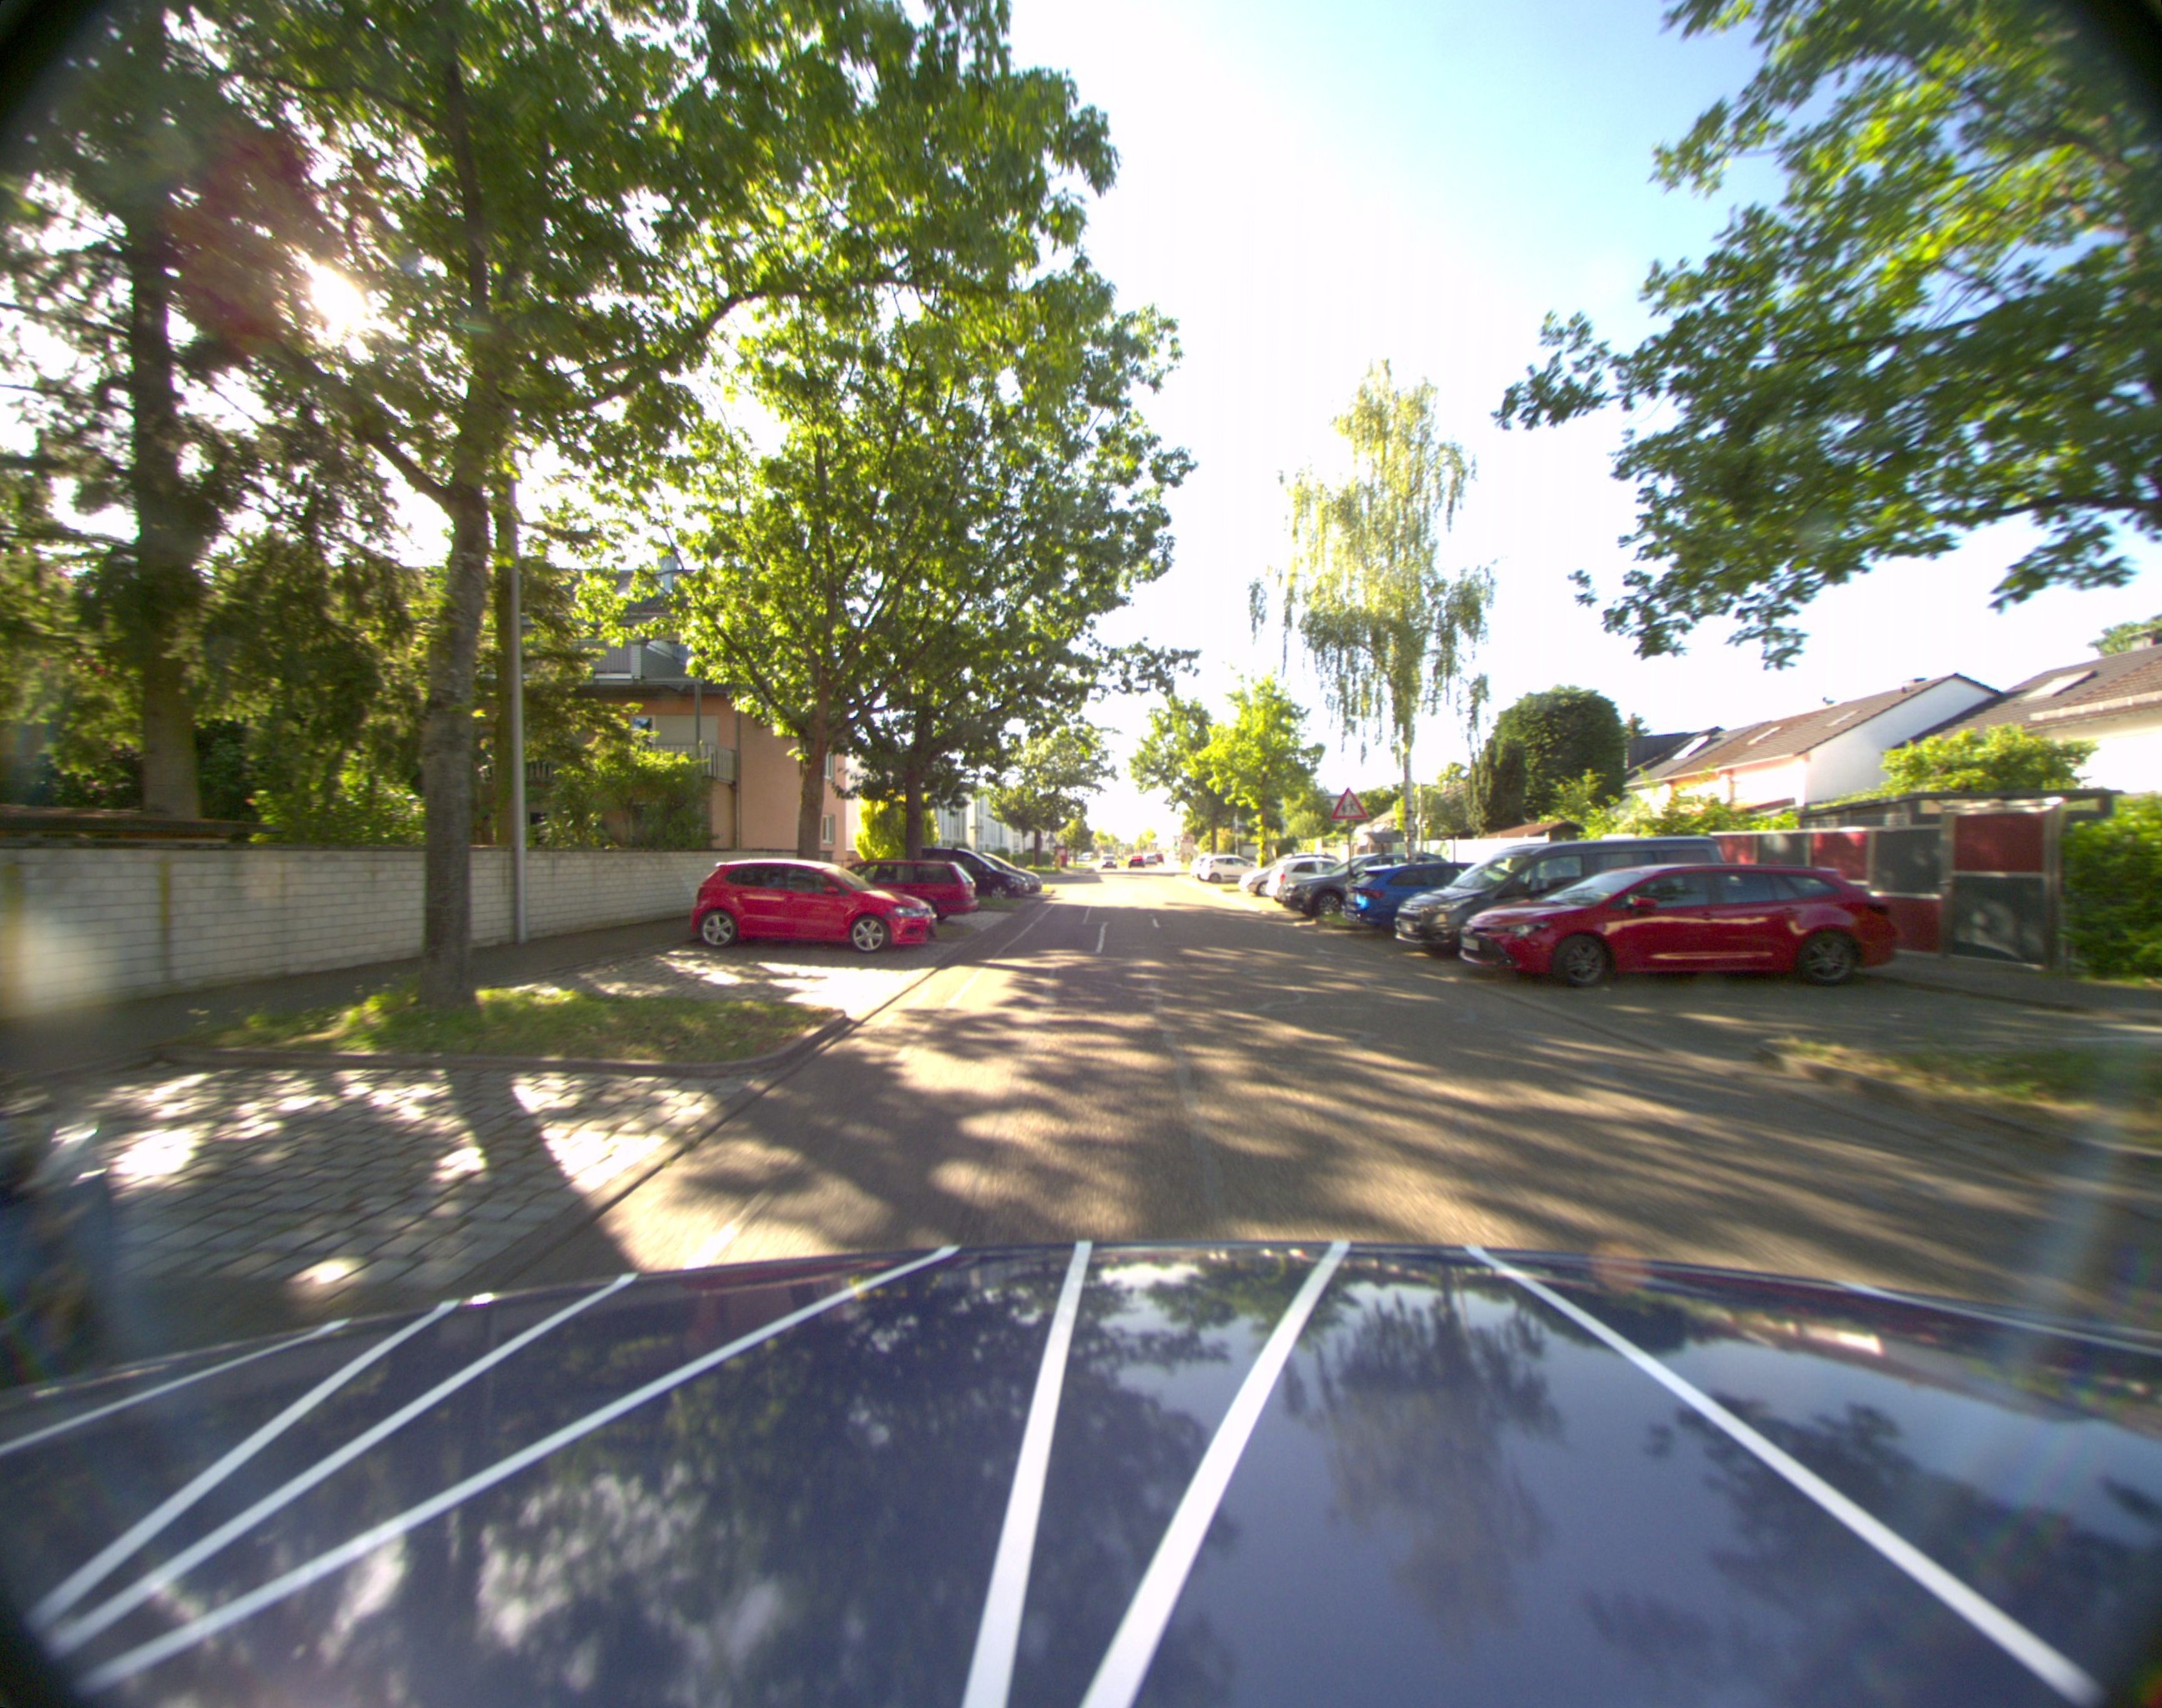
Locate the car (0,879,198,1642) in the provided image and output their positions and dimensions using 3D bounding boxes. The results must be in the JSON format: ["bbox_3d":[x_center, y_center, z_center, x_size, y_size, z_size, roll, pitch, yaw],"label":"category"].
[{"bbox_3d":[-4.630,0.843,1.087,4.585,1.637,1.838,1,0,0],"label":"car"}]

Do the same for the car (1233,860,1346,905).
[{"bbox_3d":[8.108,1.087,29.801,3.948,1.604,1.706,-2,0,3],"label":"car"}]

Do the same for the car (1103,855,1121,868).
[{"bbox_3d":[3.481,0.834,84.255,1.877,1.469,3.852,0,0,4],"label":"car"}]

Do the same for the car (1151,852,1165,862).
[{"bbox_3d":[11.020,0.445,108.949,1.764,1.469,3.852,0,0,4],"label":"car"}]

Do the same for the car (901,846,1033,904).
[{"bbox_3d":[-3.911,0.703,26.548,4.222,1.771,1.789,2,0,1],"label":"car"}]

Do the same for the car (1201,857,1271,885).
[{"bbox_3d":[8.520,0.914,42.005,3.523,1.487,1.708,0,0,0],"label":"car"}]

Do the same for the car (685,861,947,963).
[{"bbox_3d":[-4.343,0.921,12.845,3.786,1.475,1.755,1,1,2],"label":"car"}]

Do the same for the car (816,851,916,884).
[{"bbox_3d":[-12.220,0.764,43.444,5.208,1.805,1.912,0,1,-2],"label":"car"}]

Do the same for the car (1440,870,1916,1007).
[{"bbox_3d":[7.221,1.002,9.615,4.486,1.491,1.837,-1,0,4],"label":"car"}]

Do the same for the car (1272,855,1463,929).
[{"bbox_3d":[7.274,0.939,19.576,4.220,1.714,1.761,-2,1,1],"label":"car"}]

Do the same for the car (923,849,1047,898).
[{"bbox_3d":[-3.673,0.722,29.580,4.514,1.670,1.879,2,1,1],"label":"car"}]

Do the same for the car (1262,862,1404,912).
[{"bbox_3d":[8.052,1.042,24.546,4.010,1.506,1.795,0,0,3],"label":"car"}]

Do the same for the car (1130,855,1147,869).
[{"bbox_3d":[6.507,0.850,86.386,1.742,1.531,3.947,0,0,2],"label":"car"}]

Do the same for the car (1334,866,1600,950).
[{"bbox_3d":[7.370,1.007,14.843,4.281,1.416,1.724,-2,0,3],"label":"car"}]

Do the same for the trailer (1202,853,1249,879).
[{"bbox_3d":[9.427,0.778,49.721,2.766,1.638,1.299,-1,2,-2],"label":"trailer"}]

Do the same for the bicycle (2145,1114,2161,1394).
[{"bbox_3d":[3.712,1.198,1.434,0.598,1.052,1.986,2,0,1],"label":"bicycle"}]

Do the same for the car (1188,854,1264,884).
[{"bbox_3d":[8.484,0.852,44.577,3.964,1.565,1.921,-1,1,-5],"label":"car"}]

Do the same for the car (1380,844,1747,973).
[{"bbox_3d":[7.469,0.806,12.103,4.685,1.758,1.795,-2,0,0],"label":"car"}]

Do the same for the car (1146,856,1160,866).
[{"bbox_3d":[9.601,0.923,101.865,1.764,1.390,3.852,0,0,4],"label":"car"}]

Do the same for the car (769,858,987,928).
[{"bbox_3d":[-4.594,0.867,17.658,4.513,1.437,1.838,1,0,2],"label":"car"}]

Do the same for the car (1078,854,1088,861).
[{"bbox_3d":[0.412,0.658,165.390,1.944,1.412,4.000,0,1,4],"label":"car"}]
